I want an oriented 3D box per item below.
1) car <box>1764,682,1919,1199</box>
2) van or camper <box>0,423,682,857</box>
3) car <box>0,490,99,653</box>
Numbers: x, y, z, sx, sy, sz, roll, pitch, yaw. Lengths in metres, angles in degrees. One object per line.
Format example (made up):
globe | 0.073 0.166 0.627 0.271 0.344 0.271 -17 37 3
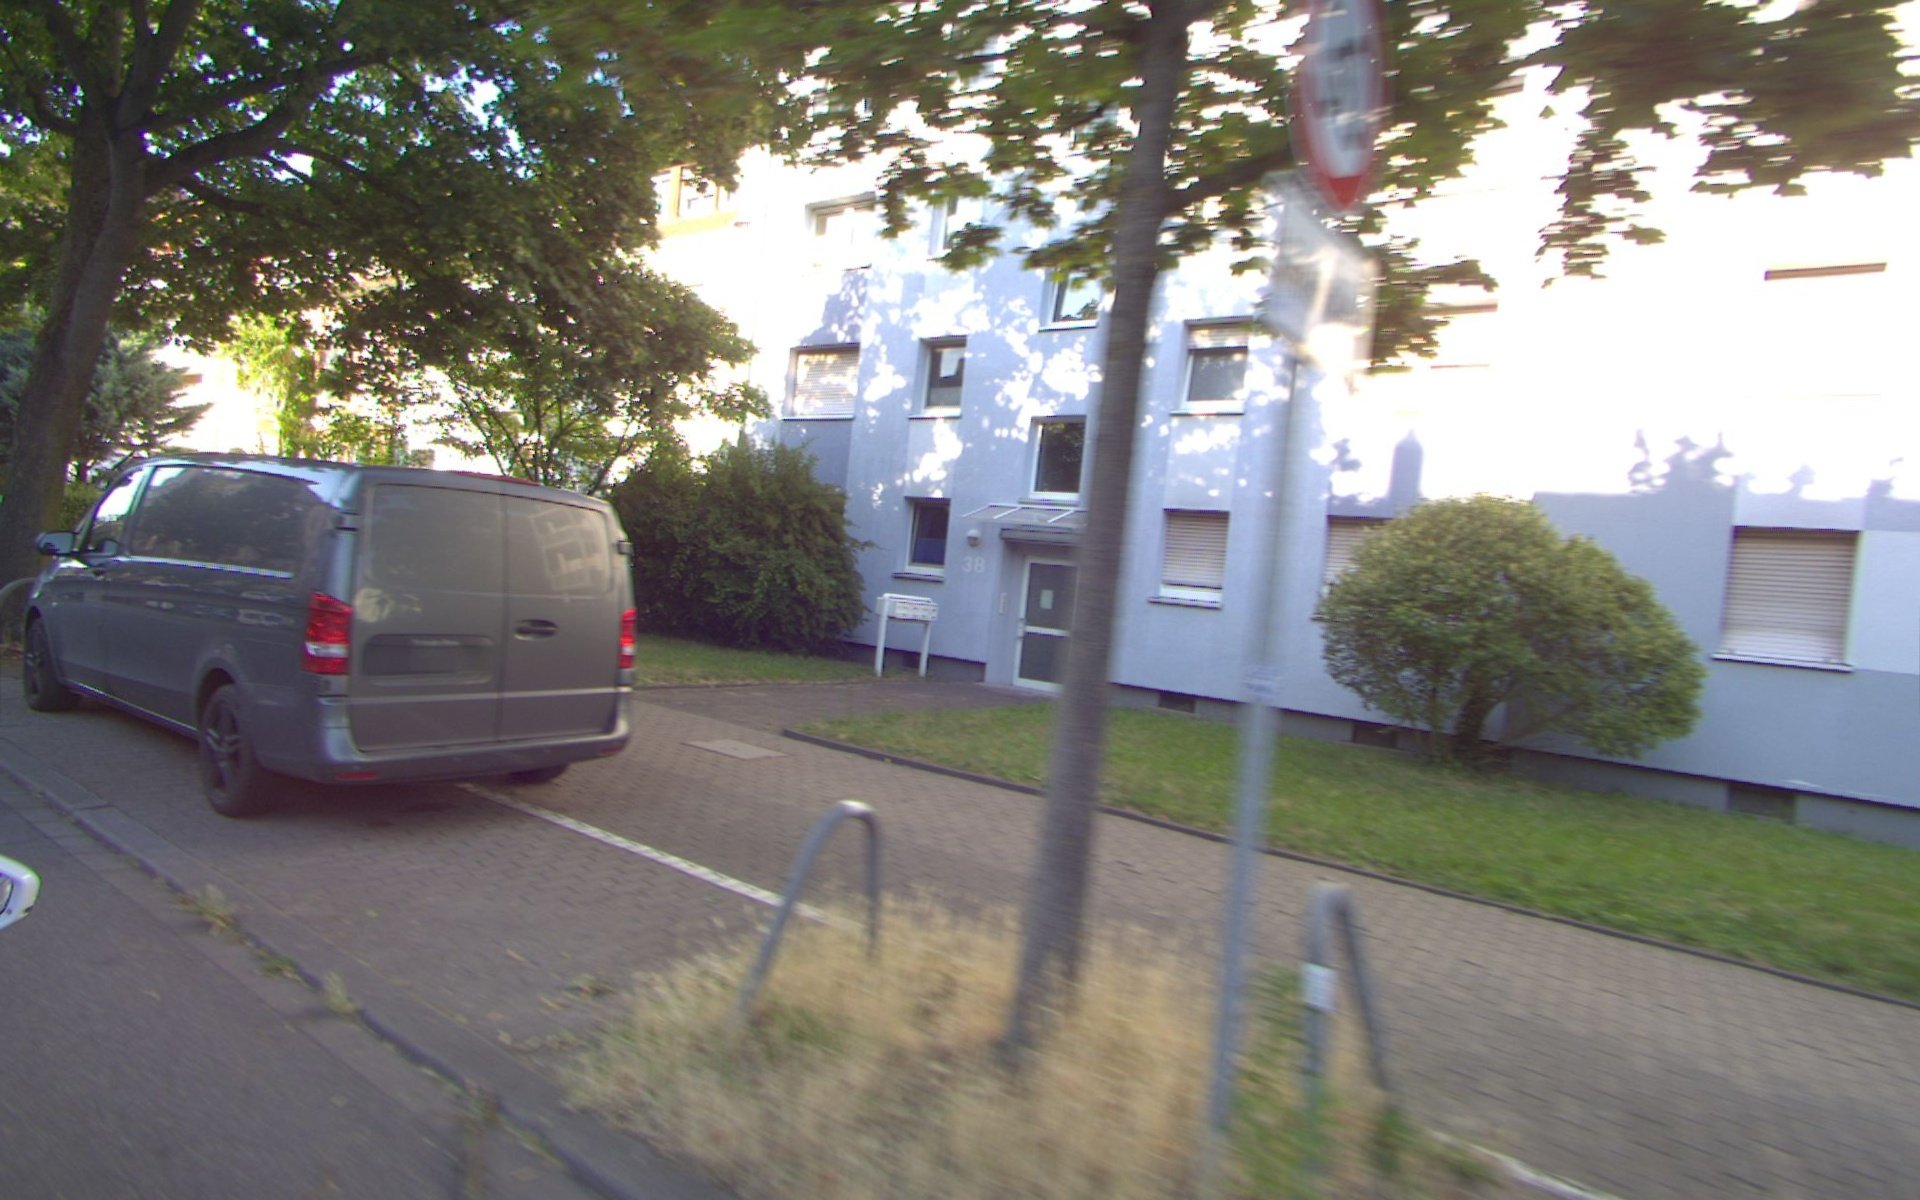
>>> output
car | 3.441 1.115 0.688 4.234 1.462 1.734 7 2 33
van or camper | -4.431 -0.019 6.721 5.175 1.866 1.993 8 2 35
car | -11.078 -0.497 10.724 4.756 1.523 1.784 6 1 36
